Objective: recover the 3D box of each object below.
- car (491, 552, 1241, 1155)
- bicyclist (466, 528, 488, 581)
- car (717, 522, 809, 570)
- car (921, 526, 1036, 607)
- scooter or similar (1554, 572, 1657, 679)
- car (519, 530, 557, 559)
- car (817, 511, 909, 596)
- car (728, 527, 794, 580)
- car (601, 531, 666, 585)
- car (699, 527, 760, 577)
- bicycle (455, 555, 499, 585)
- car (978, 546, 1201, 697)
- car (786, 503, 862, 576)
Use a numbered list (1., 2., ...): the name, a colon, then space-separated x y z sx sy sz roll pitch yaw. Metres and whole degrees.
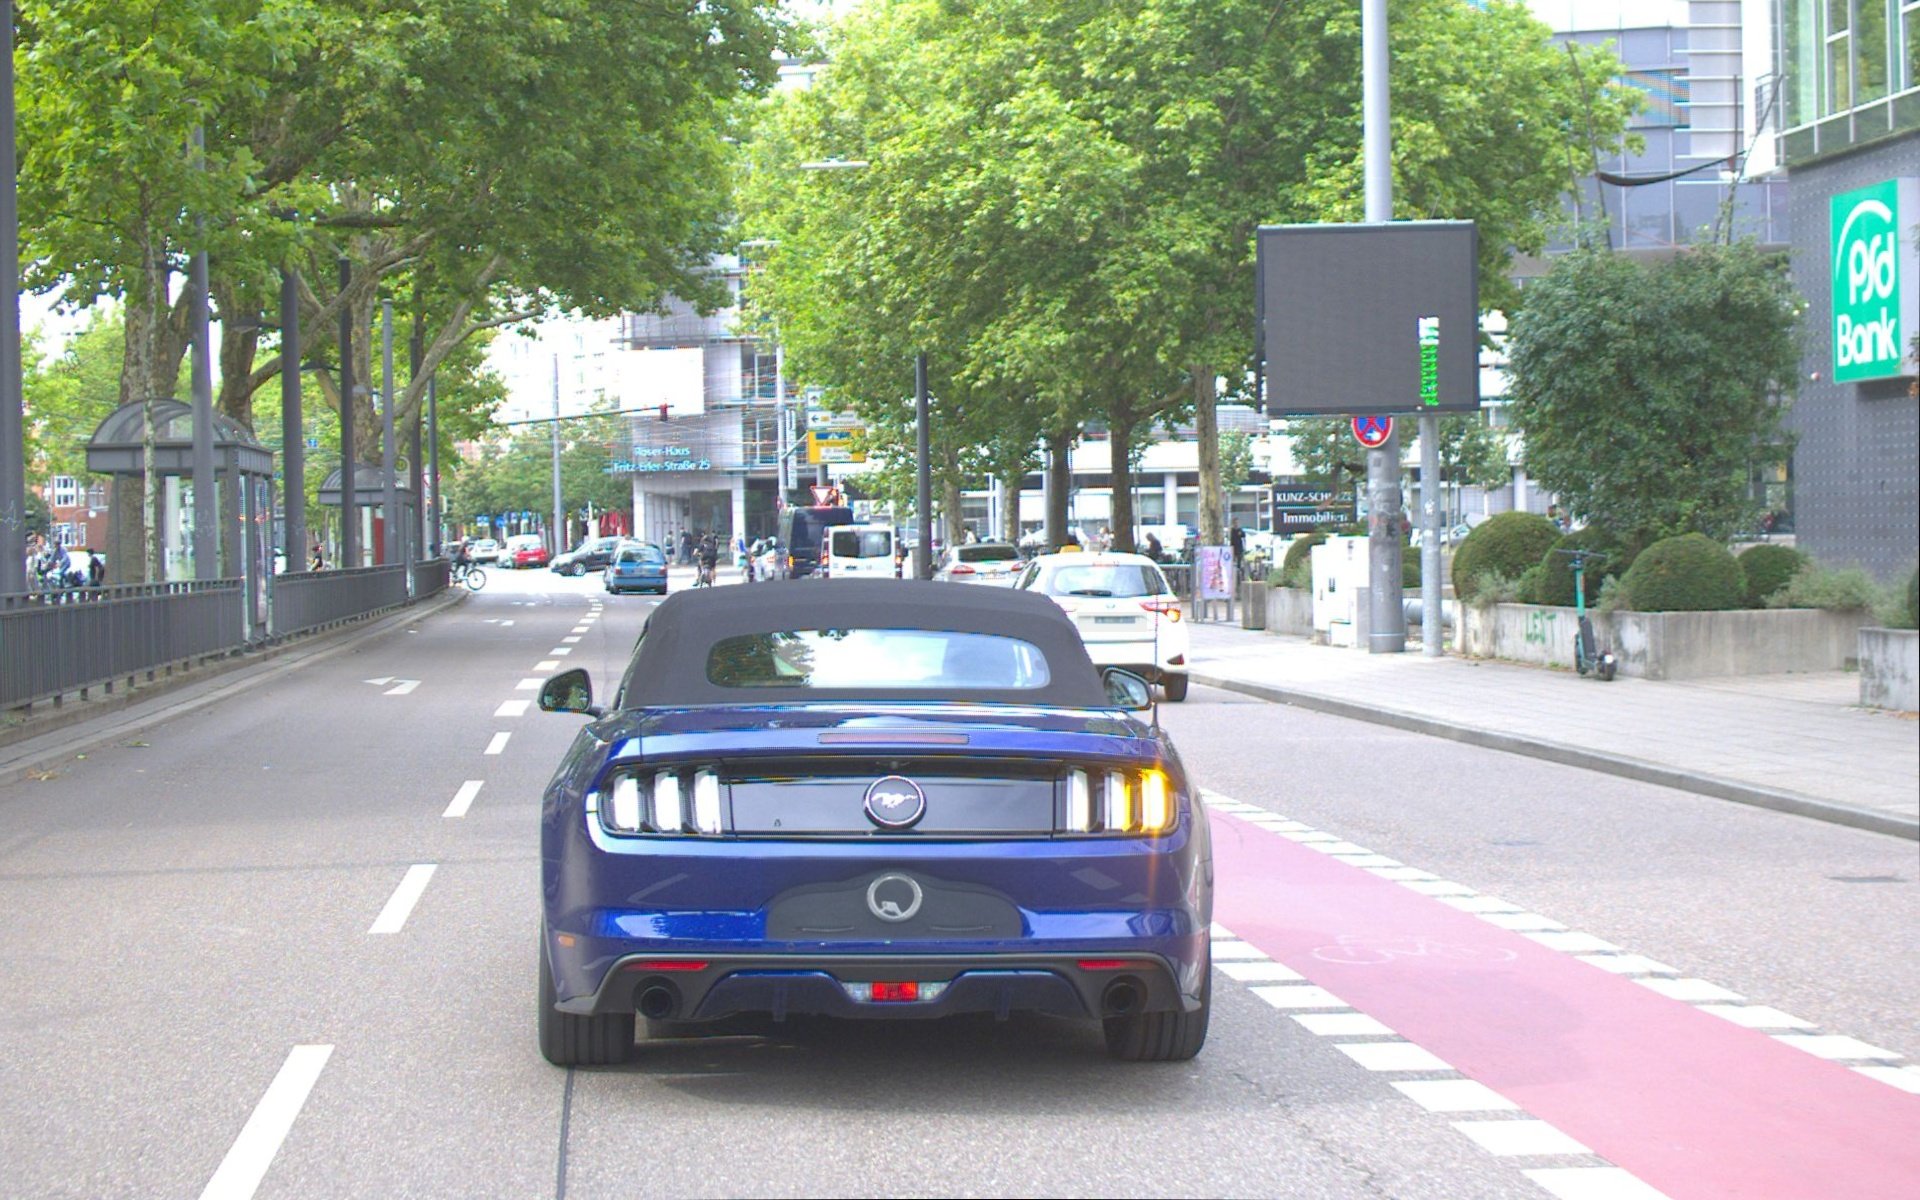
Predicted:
1. car: -0.379 0.611 10.870 1.876 1.399 4.283 -1 2 -4
2. bicyclist: -15.869 -1.488 112.979 0.671 1.725 0.512 -1 1 -5
3. car: -8.734 -2.411 152.632 3.987 2.007 2.000 -1 1 -1
4. car: 0.351 -0.716 71.155 1.880 1.576 4.326 -1 2 -6
5. scooter or similar: 6.091 0.230 32.527 0.587 0.947 1.860 -1 1 -1
6. car: -22.853 -3.023 186.448 1.835 1.515 4.176 -1 1 -5
7. car: -2.300 -1.108 80.536 1.890 1.897 4.130 -1 1 -5
8. car: -5.973 -1.405 102.728 1.835 1.515 4.176 -1 1 -5
9. car: -9.732 -1.273 102.740 1.835 1.541 4.215 -1 1 -5
10. car: -7.373 -1.557 109.528 1.835 1.515 4.176 -1 1 -5
11. bicycle: -15.877 -0.994 112.995 1.406 0.928 0.512 -1 1 -5
12. car: 1.295 0.180 36.115 1.835 1.434 4.188 -1 1 -5
13. car: -3.720 -1.654 93.360 1.835 1.897 4.176 -1 1 -5
